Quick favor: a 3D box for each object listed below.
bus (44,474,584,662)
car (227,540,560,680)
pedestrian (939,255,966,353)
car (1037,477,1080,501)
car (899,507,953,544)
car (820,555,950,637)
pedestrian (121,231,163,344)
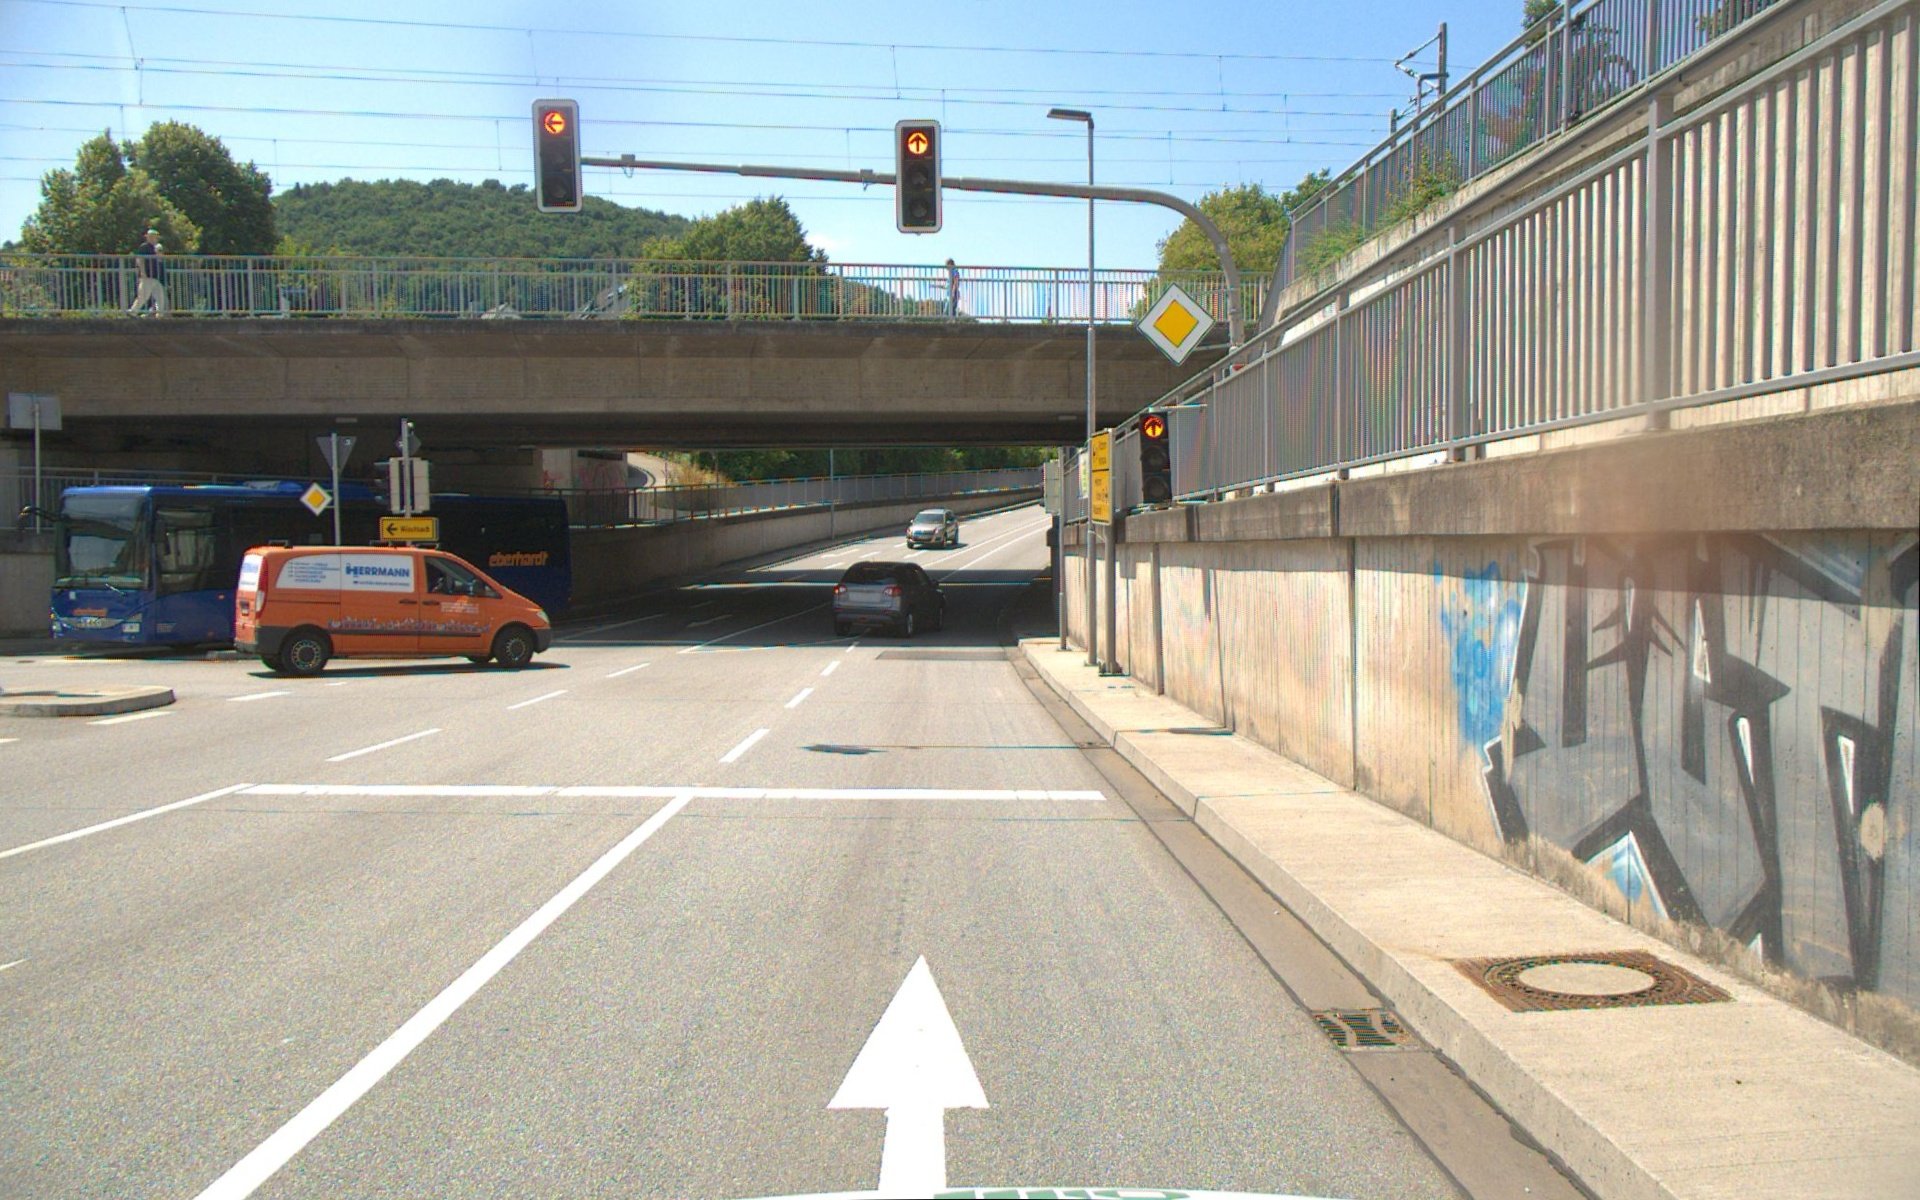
[{"bbox_3d":[-12.689,-0.874,34.658,2.529,3.227,12.375,1,3,23],"label":"bus"},{"bbox_3d":[-8.872,0.069,26.087,4.662,1.965,1.857,-2,3,-34],"label":"car"},{"bbox_3d":[-0.173,-6.719,37.586,0.529,2.117,0.534,-1,1,-8],"label":"pedestrian"},{"bbox_3d":[6.549,-7.351,109.542,1.745,1.461,4.001,1,3,22],"label":"car"},{"bbox_3d":[-1.553,-3.478,77.103,1.951,1.655,4.005,0,3,7],"label":"car"},{"bbox_3d":[-1.615,-0.143,37.138,1.766,1.645,4.004,1,3,15],"label":"car"},{"bbox_3d":[-16.100,-6.140,32.575,0.566,2.117,0.534,-1,1,-11],"label":"pedestrian"}]
